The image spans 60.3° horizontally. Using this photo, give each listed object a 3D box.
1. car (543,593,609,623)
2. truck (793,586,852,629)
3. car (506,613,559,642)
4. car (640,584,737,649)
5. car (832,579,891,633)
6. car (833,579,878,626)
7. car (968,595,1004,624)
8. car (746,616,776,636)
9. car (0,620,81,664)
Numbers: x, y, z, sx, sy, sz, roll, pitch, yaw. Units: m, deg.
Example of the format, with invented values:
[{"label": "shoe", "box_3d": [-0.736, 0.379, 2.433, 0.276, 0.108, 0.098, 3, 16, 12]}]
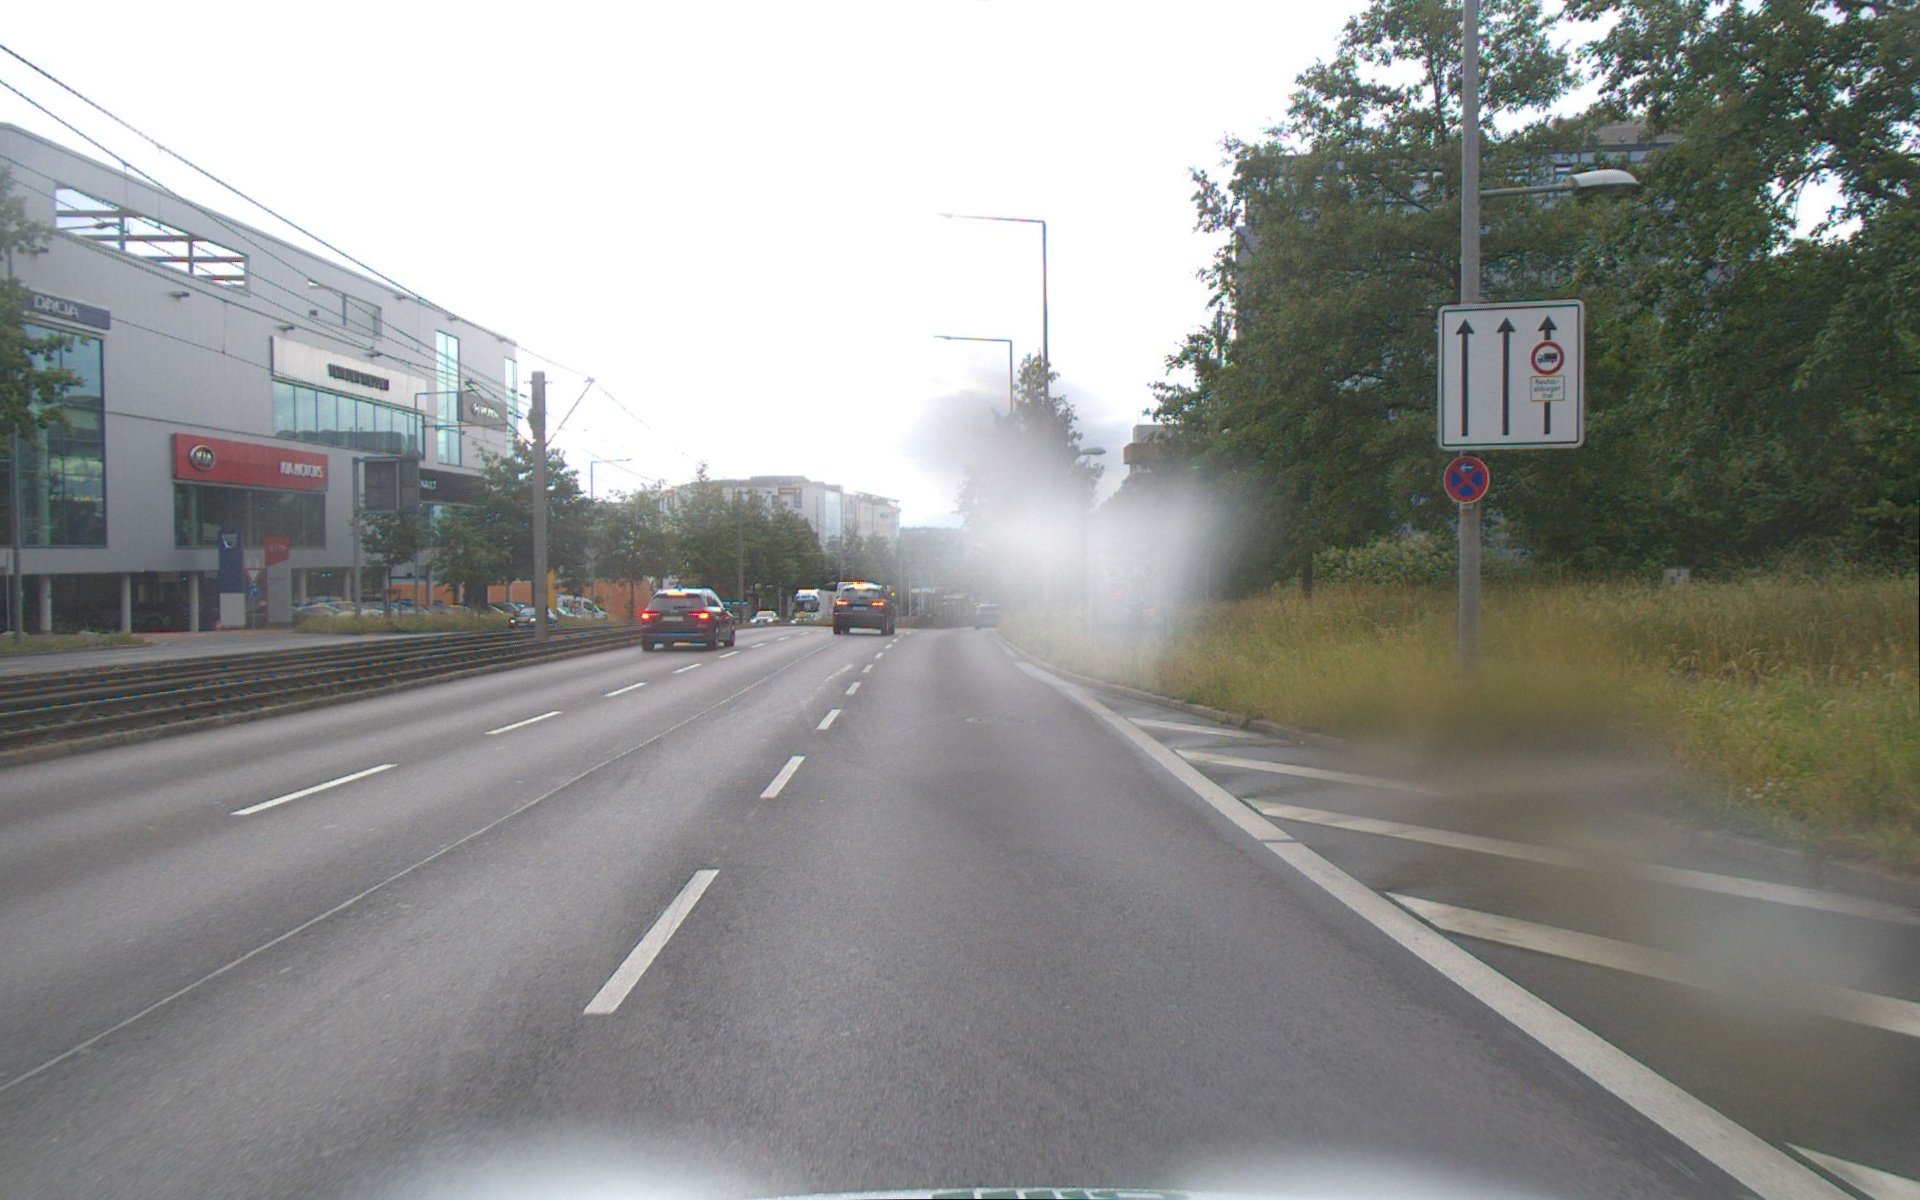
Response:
[{"label": "car", "box_3d": [-31.769, 0.699, 136.994, 5.213, 2.353, 2.013, 1, -2, -14]}, {"label": "truck", "box_3d": [-14.353, 0.777, 173.974, 2.977, 4.254, 17.213, 1, 0, 6]}, {"label": "car", "box_3d": [-22.737, 1.475, 88.029, 1.633, 1.487, 4.238, 1, -1, 1]}, {"label": "car", "box_3d": [-6.490, 0.358, 40.027, 1.750, 1.438, 4.803, 1, 0, -3]}, {"label": "car", "box_3d": [-3.351, 0.173, 55.819, 1.885, 1.740, 4.094, 1, 0, -5]}, {"label": "car", "box_3d": [-5.455, 0.109, 85.933, 2.223, 2.325, 4.755, 1, 0, -4]}, {"label": "car", "box_3d": [1.485, 0.544, 95.798, 1.754, 1.619, 3.996, -1, 0, -5]}, {"label": "car", "box_3d": [-15.660, 2.038, 130.320, 1.633, 1.487, 4.239, 1, -1, 2]}, {"label": "car", "box_3d": [-39.738, 1.737, 70.408, 1.953, 1.755, 4.940, 1, 0, 0]}]
